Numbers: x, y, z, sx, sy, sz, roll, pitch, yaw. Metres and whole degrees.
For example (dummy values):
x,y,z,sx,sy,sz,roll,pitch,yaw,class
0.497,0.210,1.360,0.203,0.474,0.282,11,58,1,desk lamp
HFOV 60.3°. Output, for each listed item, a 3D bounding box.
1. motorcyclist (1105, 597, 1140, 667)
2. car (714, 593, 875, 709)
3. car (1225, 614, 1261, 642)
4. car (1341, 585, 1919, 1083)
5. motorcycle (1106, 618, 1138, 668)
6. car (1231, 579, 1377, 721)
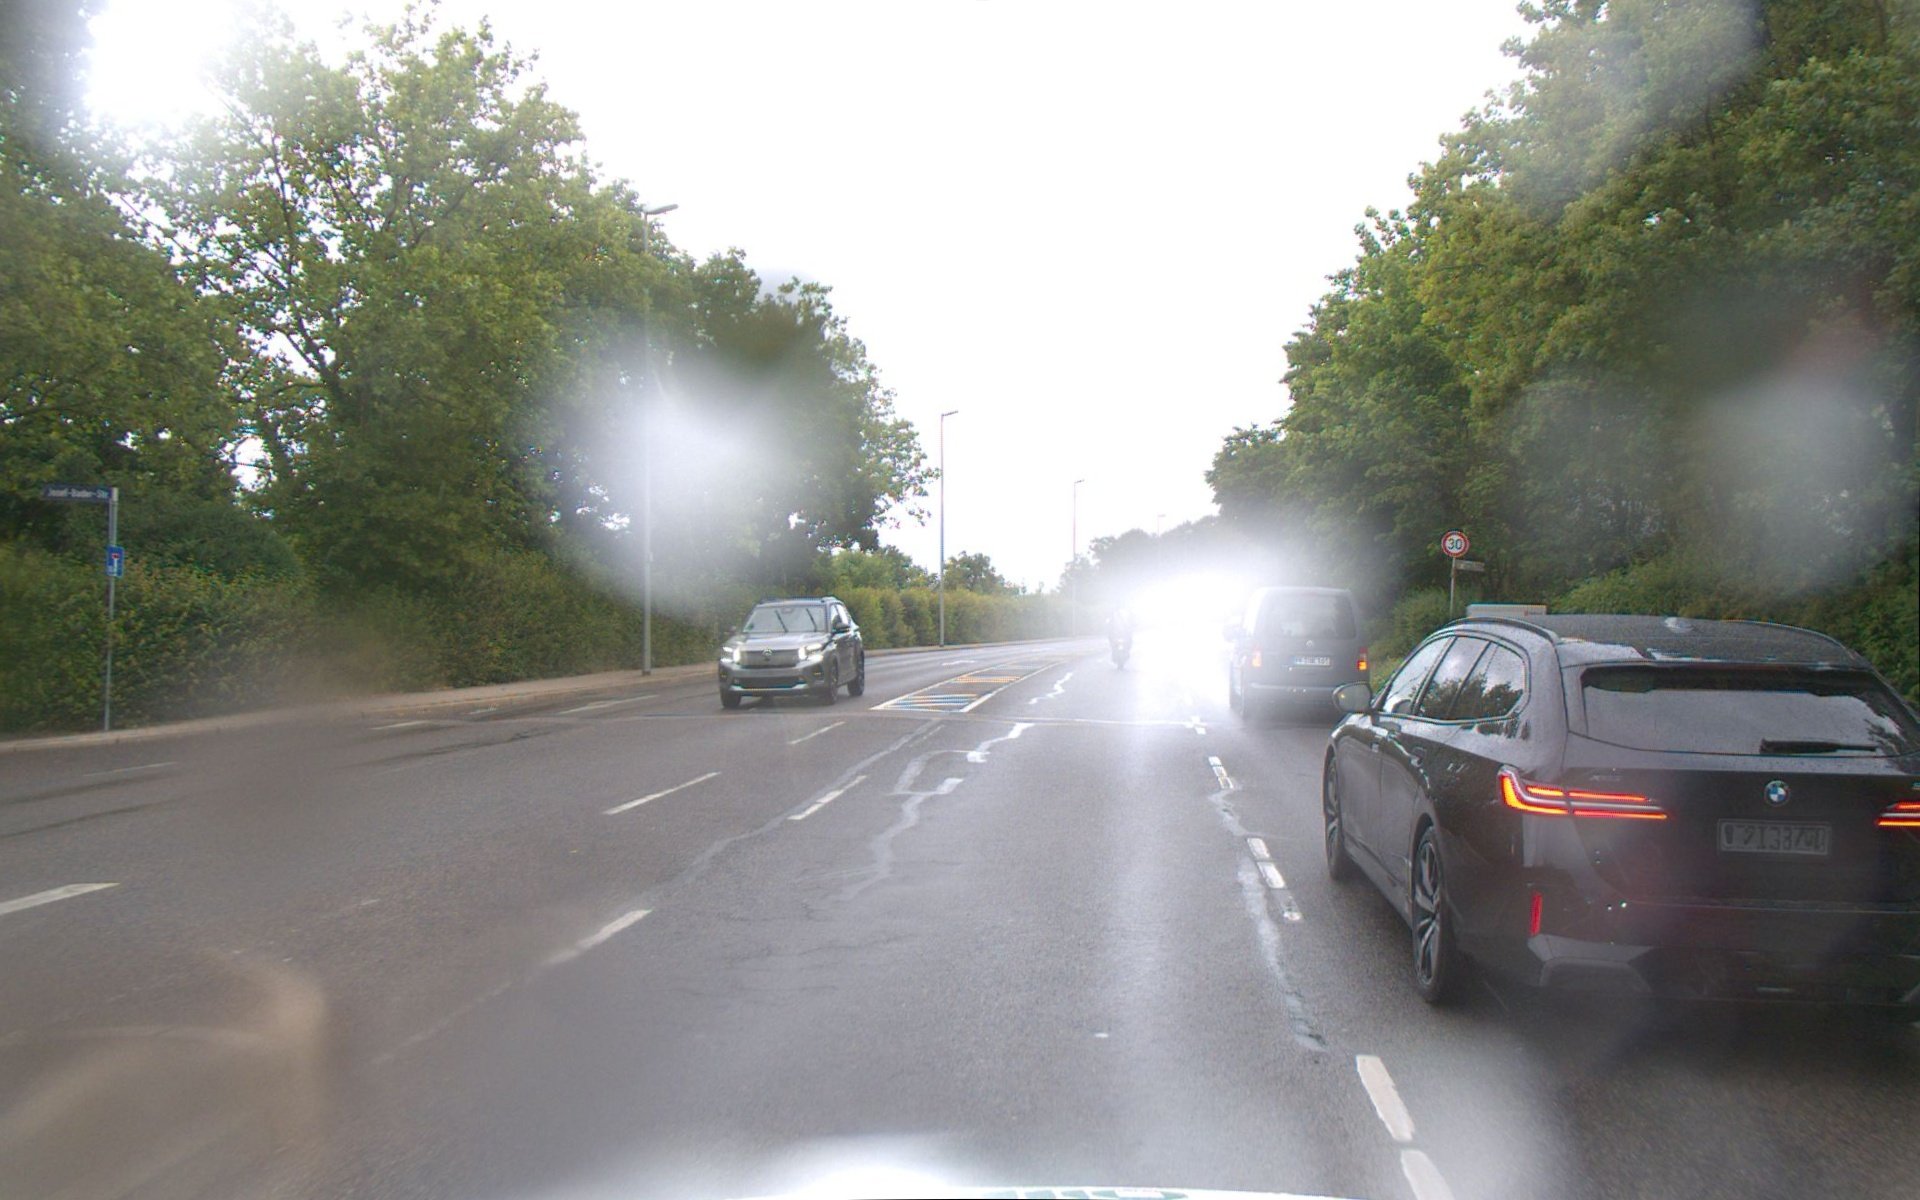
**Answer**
x,y,z,sx,sy,sz,roll,pitch,yaw,class
3.966,0.773,40.261,0.827,1.676,0.468,0,1,7,motorcyclist
-2.488,0.736,25.708,1.757,1.631,3.734,-1,0,5,car
16.369,1.587,95.691,1.972,1.440,4.490,1,1,10,car
2.725,0.753,7.146,1.727,1.563,3.675,1,0,7,car
3.960,1.042,40.313,0.725,1.139,1.427,1,1,7,motorcycle
4.869,0.633,23.865,1.729,1.841,3.908,1,1,7,car
